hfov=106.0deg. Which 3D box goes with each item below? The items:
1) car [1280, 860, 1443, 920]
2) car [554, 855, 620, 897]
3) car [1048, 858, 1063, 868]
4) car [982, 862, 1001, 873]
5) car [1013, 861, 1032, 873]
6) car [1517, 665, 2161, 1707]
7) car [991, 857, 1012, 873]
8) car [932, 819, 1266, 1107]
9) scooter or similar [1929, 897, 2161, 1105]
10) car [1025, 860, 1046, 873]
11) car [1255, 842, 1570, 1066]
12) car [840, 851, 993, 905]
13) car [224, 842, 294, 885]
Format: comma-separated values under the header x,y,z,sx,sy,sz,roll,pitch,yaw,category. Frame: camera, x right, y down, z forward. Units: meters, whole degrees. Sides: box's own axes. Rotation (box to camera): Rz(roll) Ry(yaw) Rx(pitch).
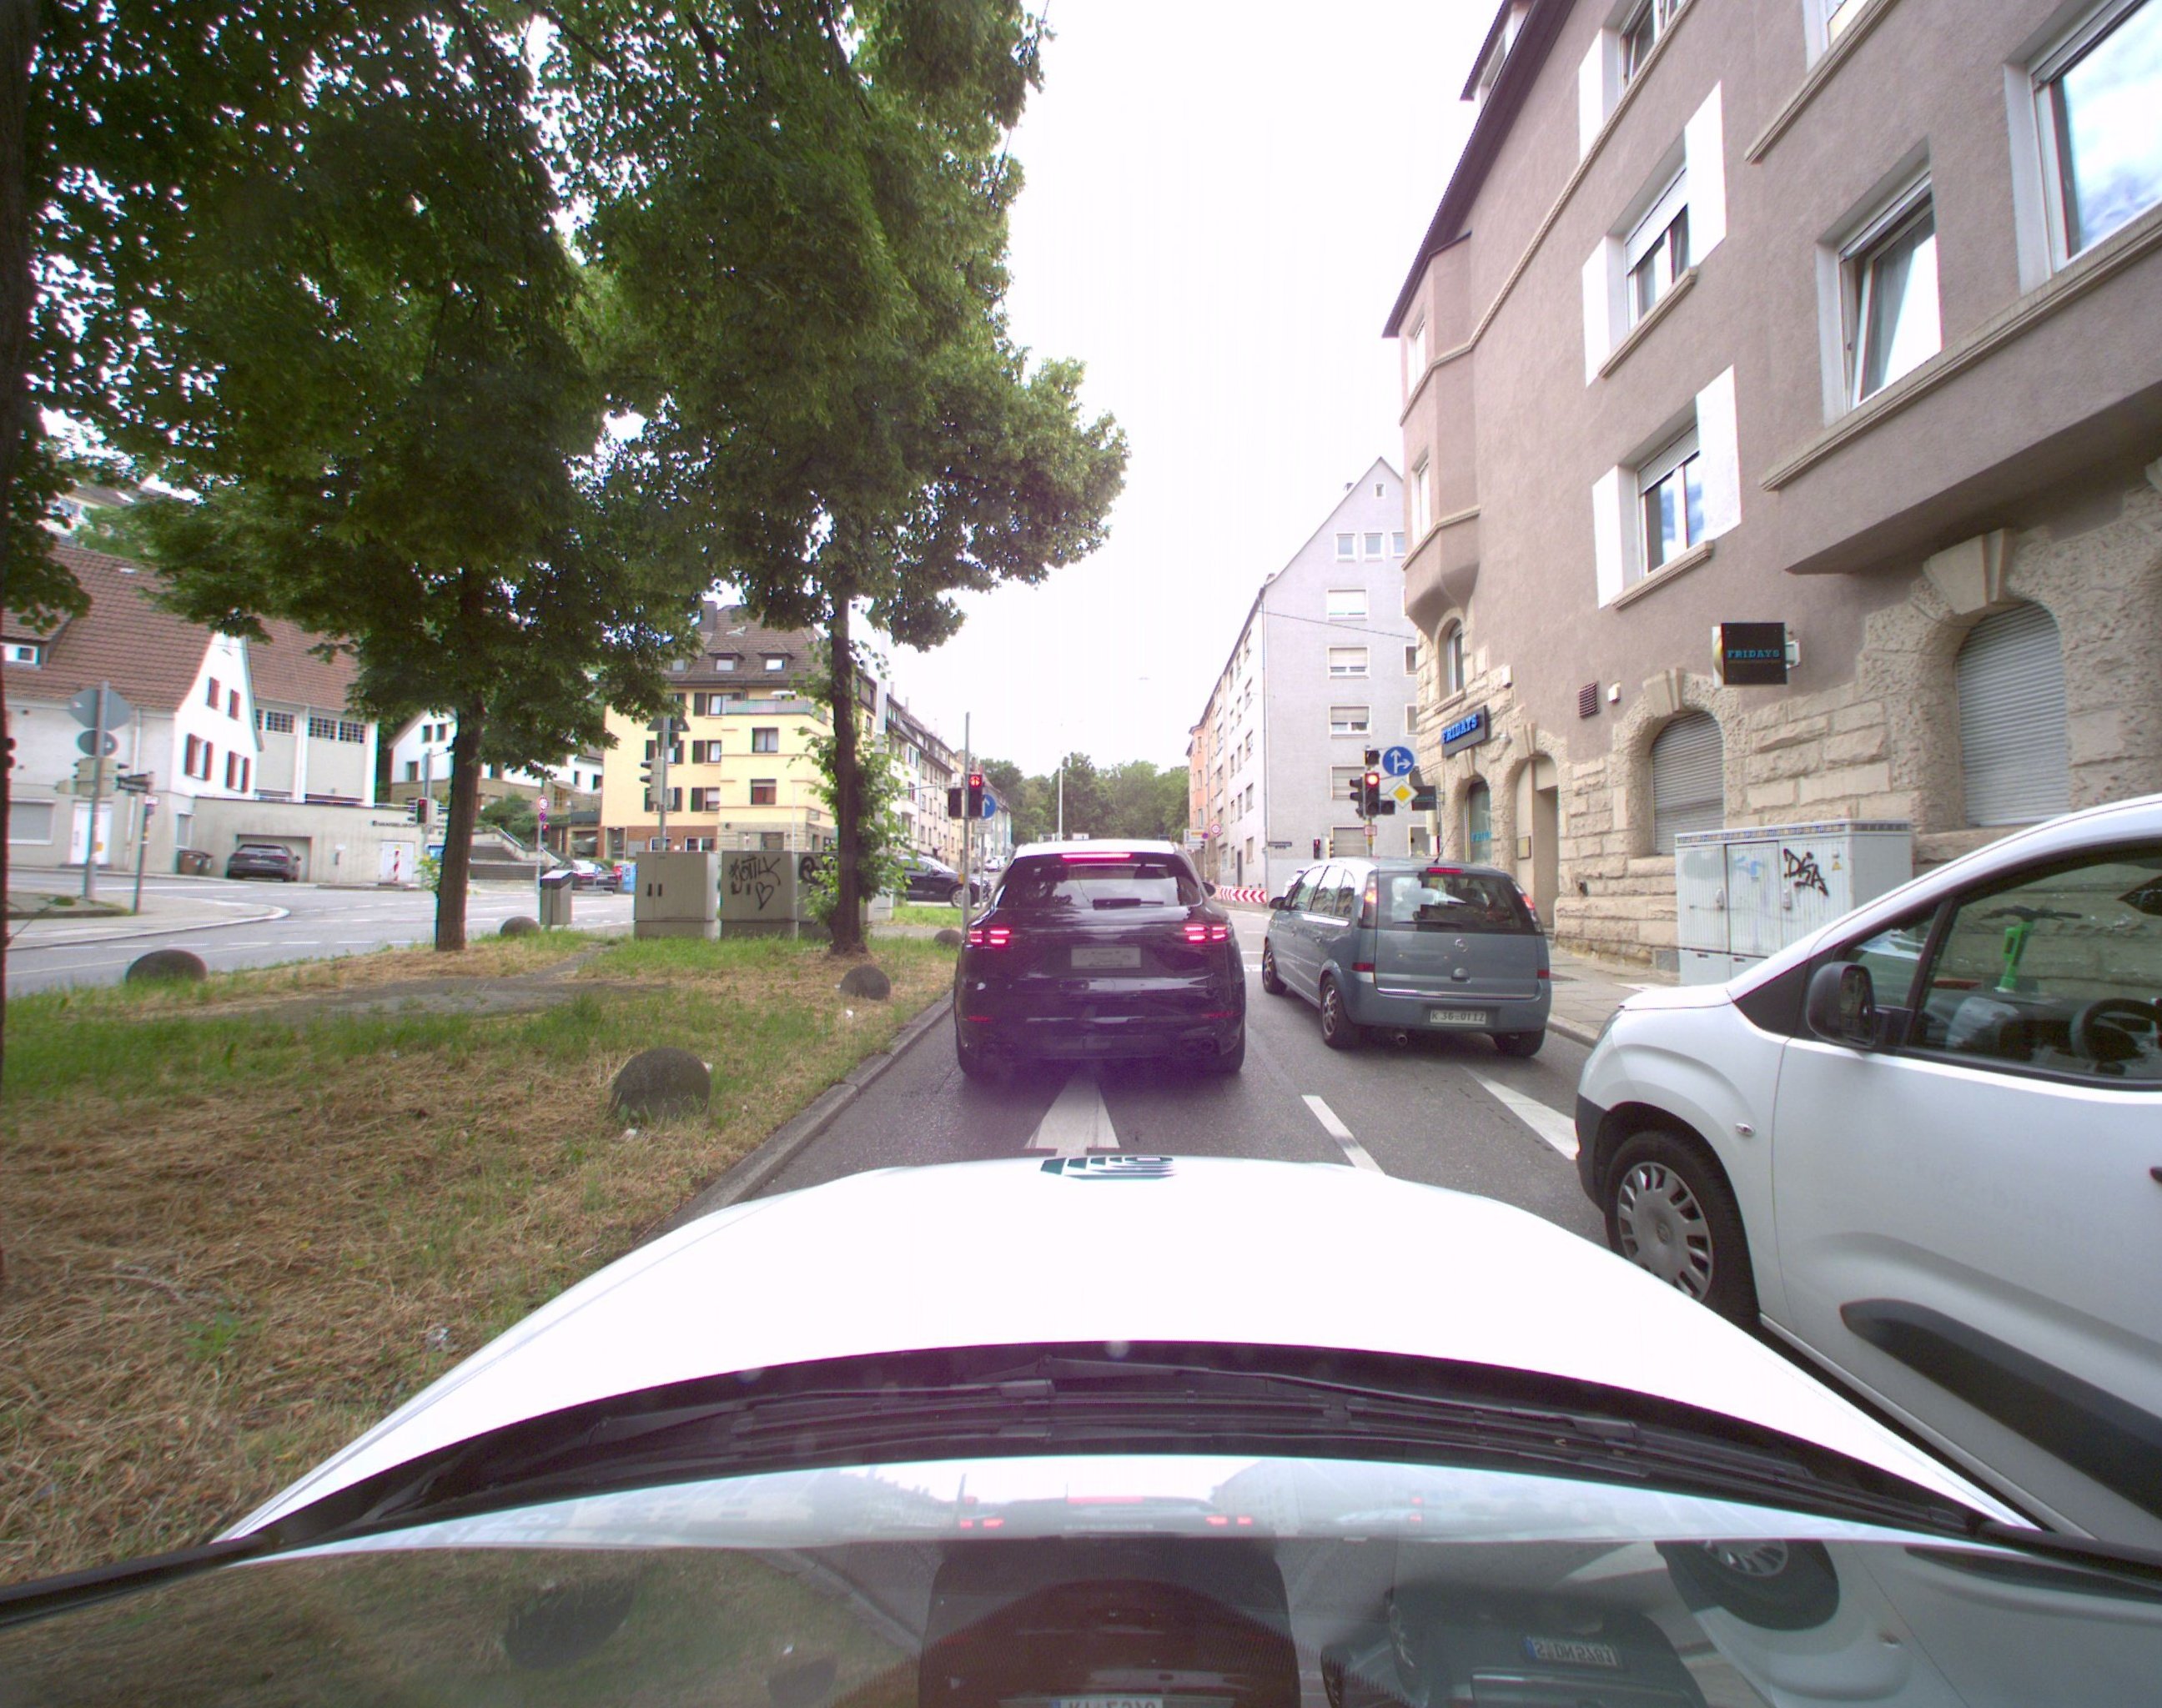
x,y,z,sx,sy,sz,roll,pitch,yaw,category
8.135,1.047,23.894,4.232,1.594,1.692,1,-2,4,car
-23.587,1.010,38.843,3.477,1.596,1.881,7,4,44,car
-4.045,1.379,128.801,1.966,1.610,4.560,0,0,2,car
-10.935,1.638,99.162,1.732,1.387,3.815,0,0,2,car
-7.583,1.683,105.288,1.836,1.486,3.902,0,0,4,car
2.817,0.605,1.056,1.969,1.775,4.676,3,0,0,car
-10.191,1.427,105.064,2.008,2.045,4.669,0,-1,2,car
0.164,0.662,6.825,1.948,1.674,4.001,-1,-1,2,car
6.411,0.868,5.219,0.524,1.104,1.424,-1,-1,4,scooter or similar
-4.662,1.274,83.865,1.854,1.388,4.096,0,0,2,car
2.871,0.758,7.925,1.622,1.598,3.670,3,0,2,car
-4.719,0.702,23.899,4.231,1.521,1.663,0,-1,-6,car
-32.155,0.358,31.839,3.019,1.405,1.681,2,-4,42,car
